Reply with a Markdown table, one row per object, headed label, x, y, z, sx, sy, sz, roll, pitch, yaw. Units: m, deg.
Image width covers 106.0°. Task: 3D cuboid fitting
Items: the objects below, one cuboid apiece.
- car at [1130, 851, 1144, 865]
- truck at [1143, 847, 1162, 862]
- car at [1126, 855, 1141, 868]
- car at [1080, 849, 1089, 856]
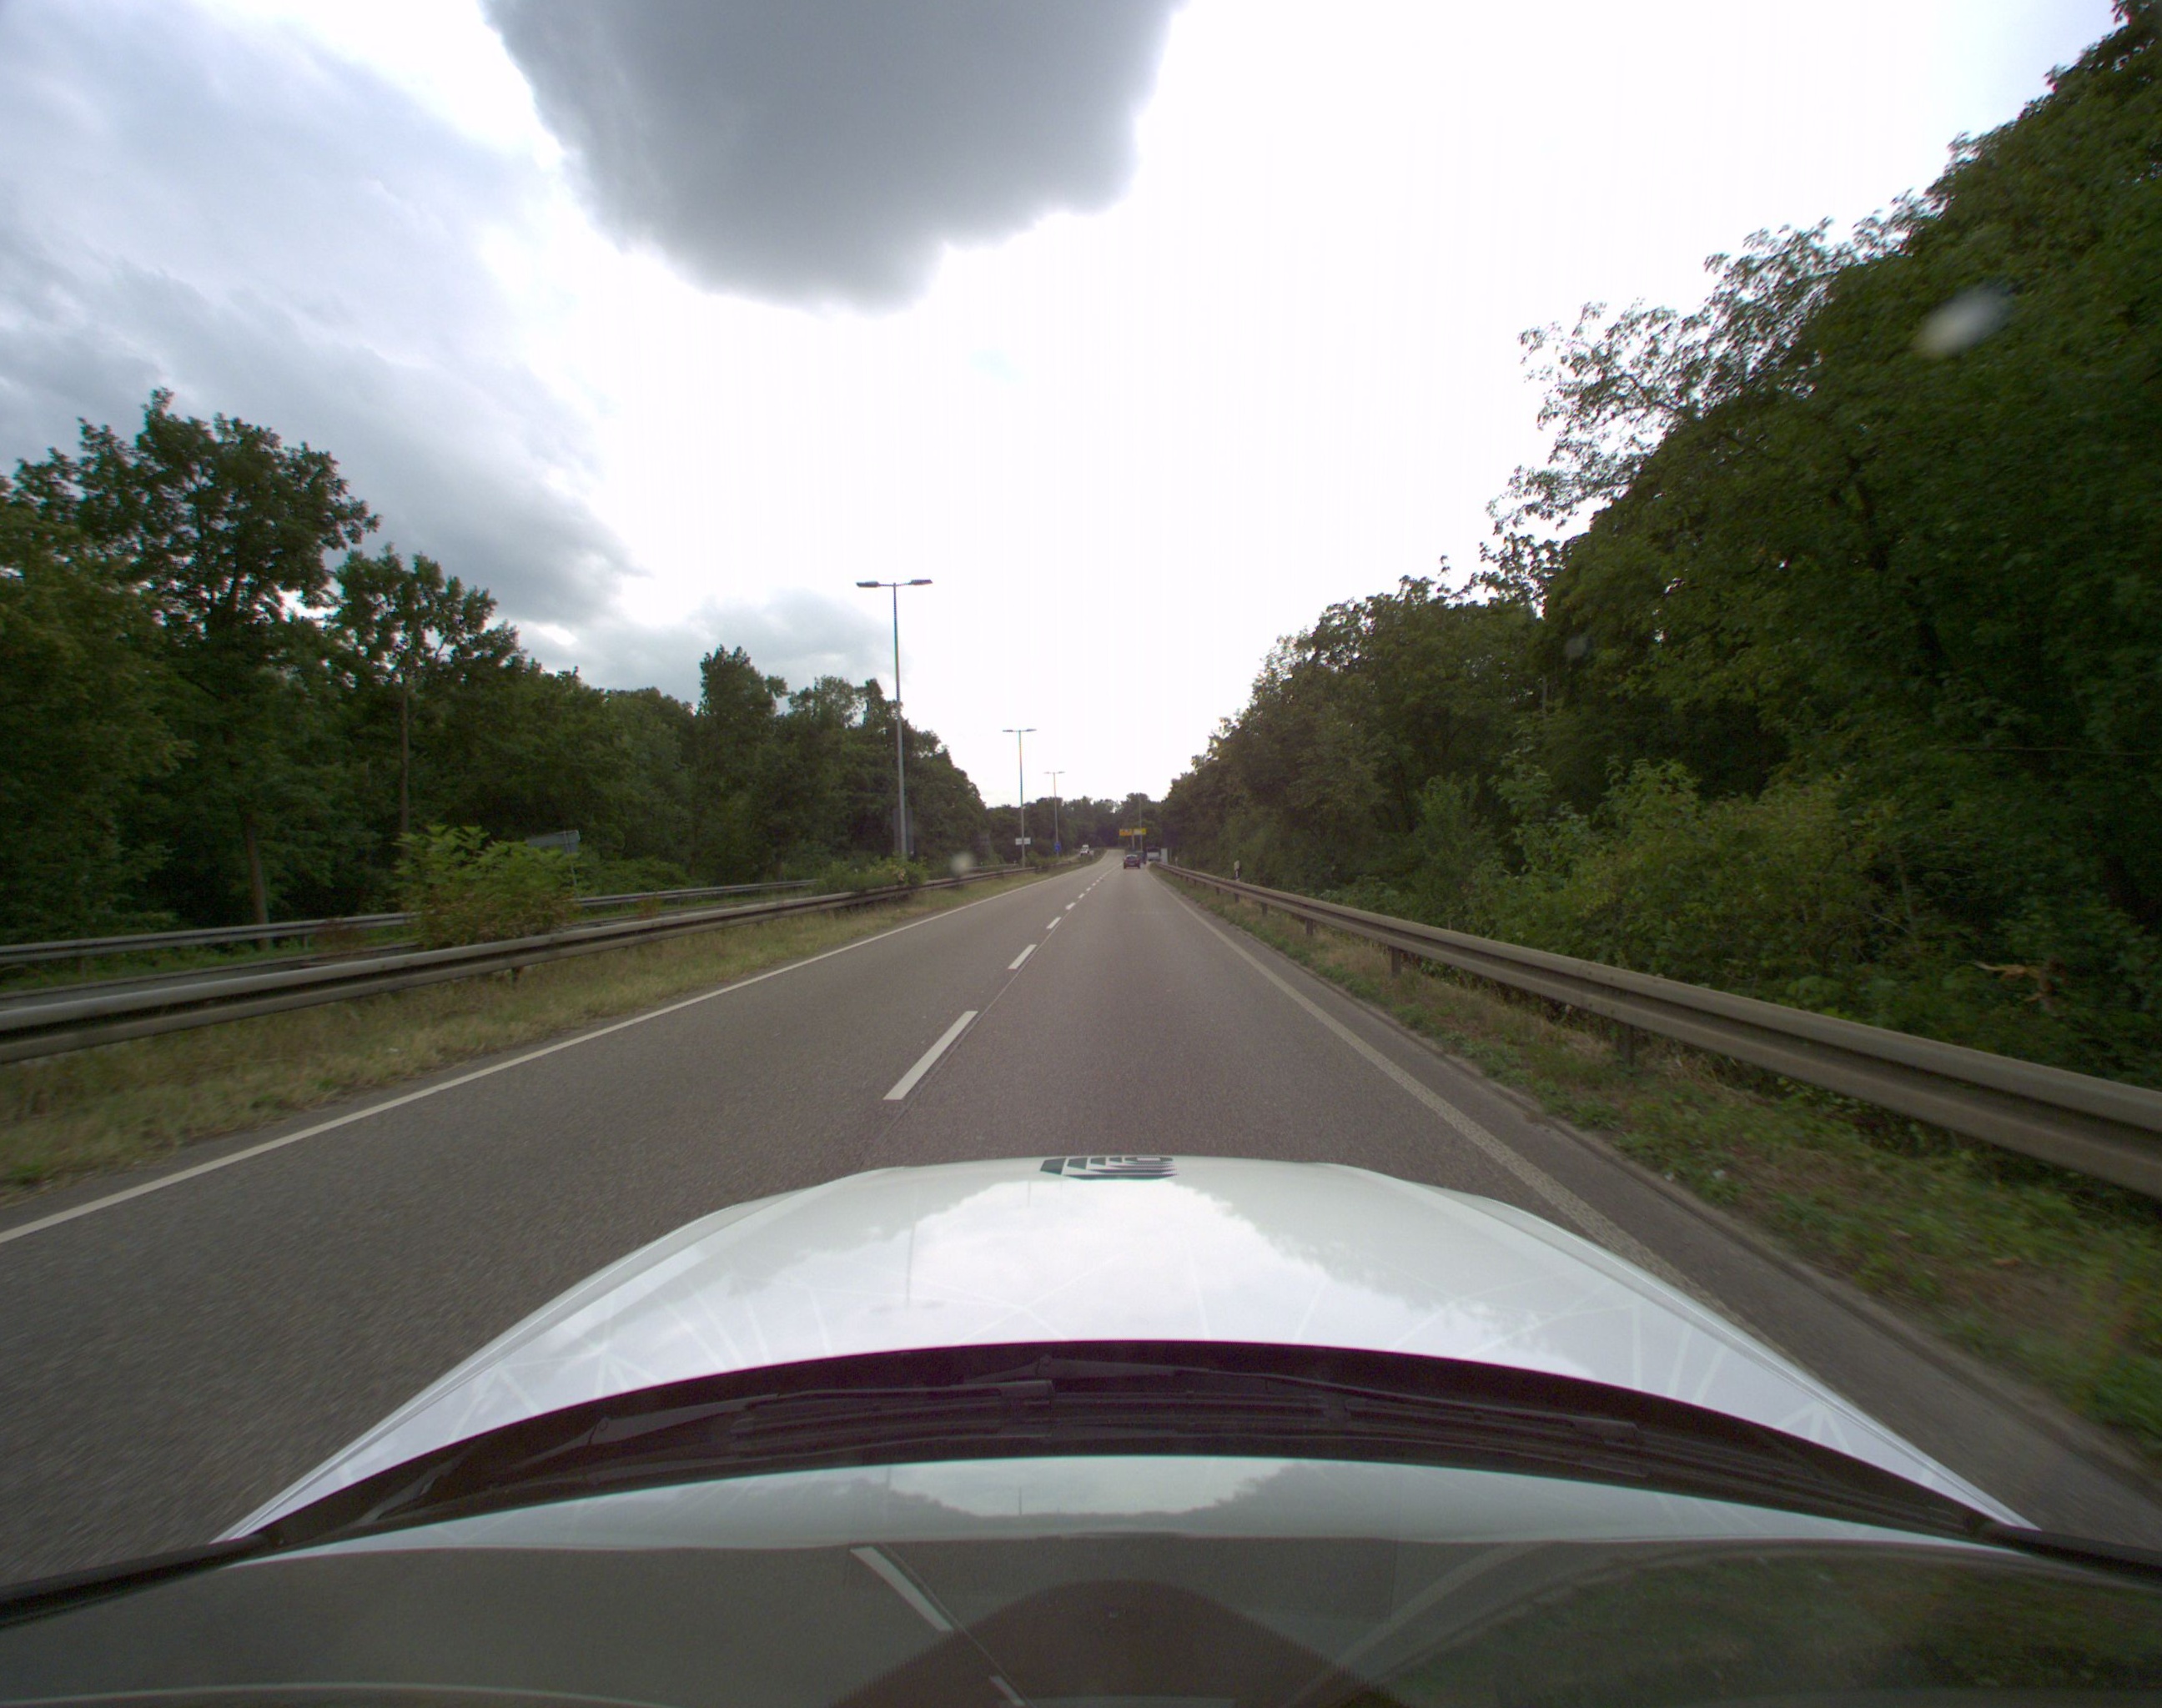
| label | x | y | z | sx | sy | sz | roll | pitch | yaw |
| --- | --- | --- | --- | --- | --- | --- | --- | --- | --- |
| car | 8.777 | 0.623 | 126.866 | 2.138 | 2.014 | 4.004 | -2 | -1 | 4 |
| truck | 14.563 | 0.082 | 164.357 | 2.962 | 2.885 | 8.013 | -2 | -1 | 10 |
| car | 5.720 | 0.850 | 88.549 | 1.618 | 1.377 | 4.004 | -2 | -1 | 4 |
| car | 0.969 | -0.363 | 226.718 | 1.984 | 1.847 | 4.005 | -2 | 1 | 4 |
